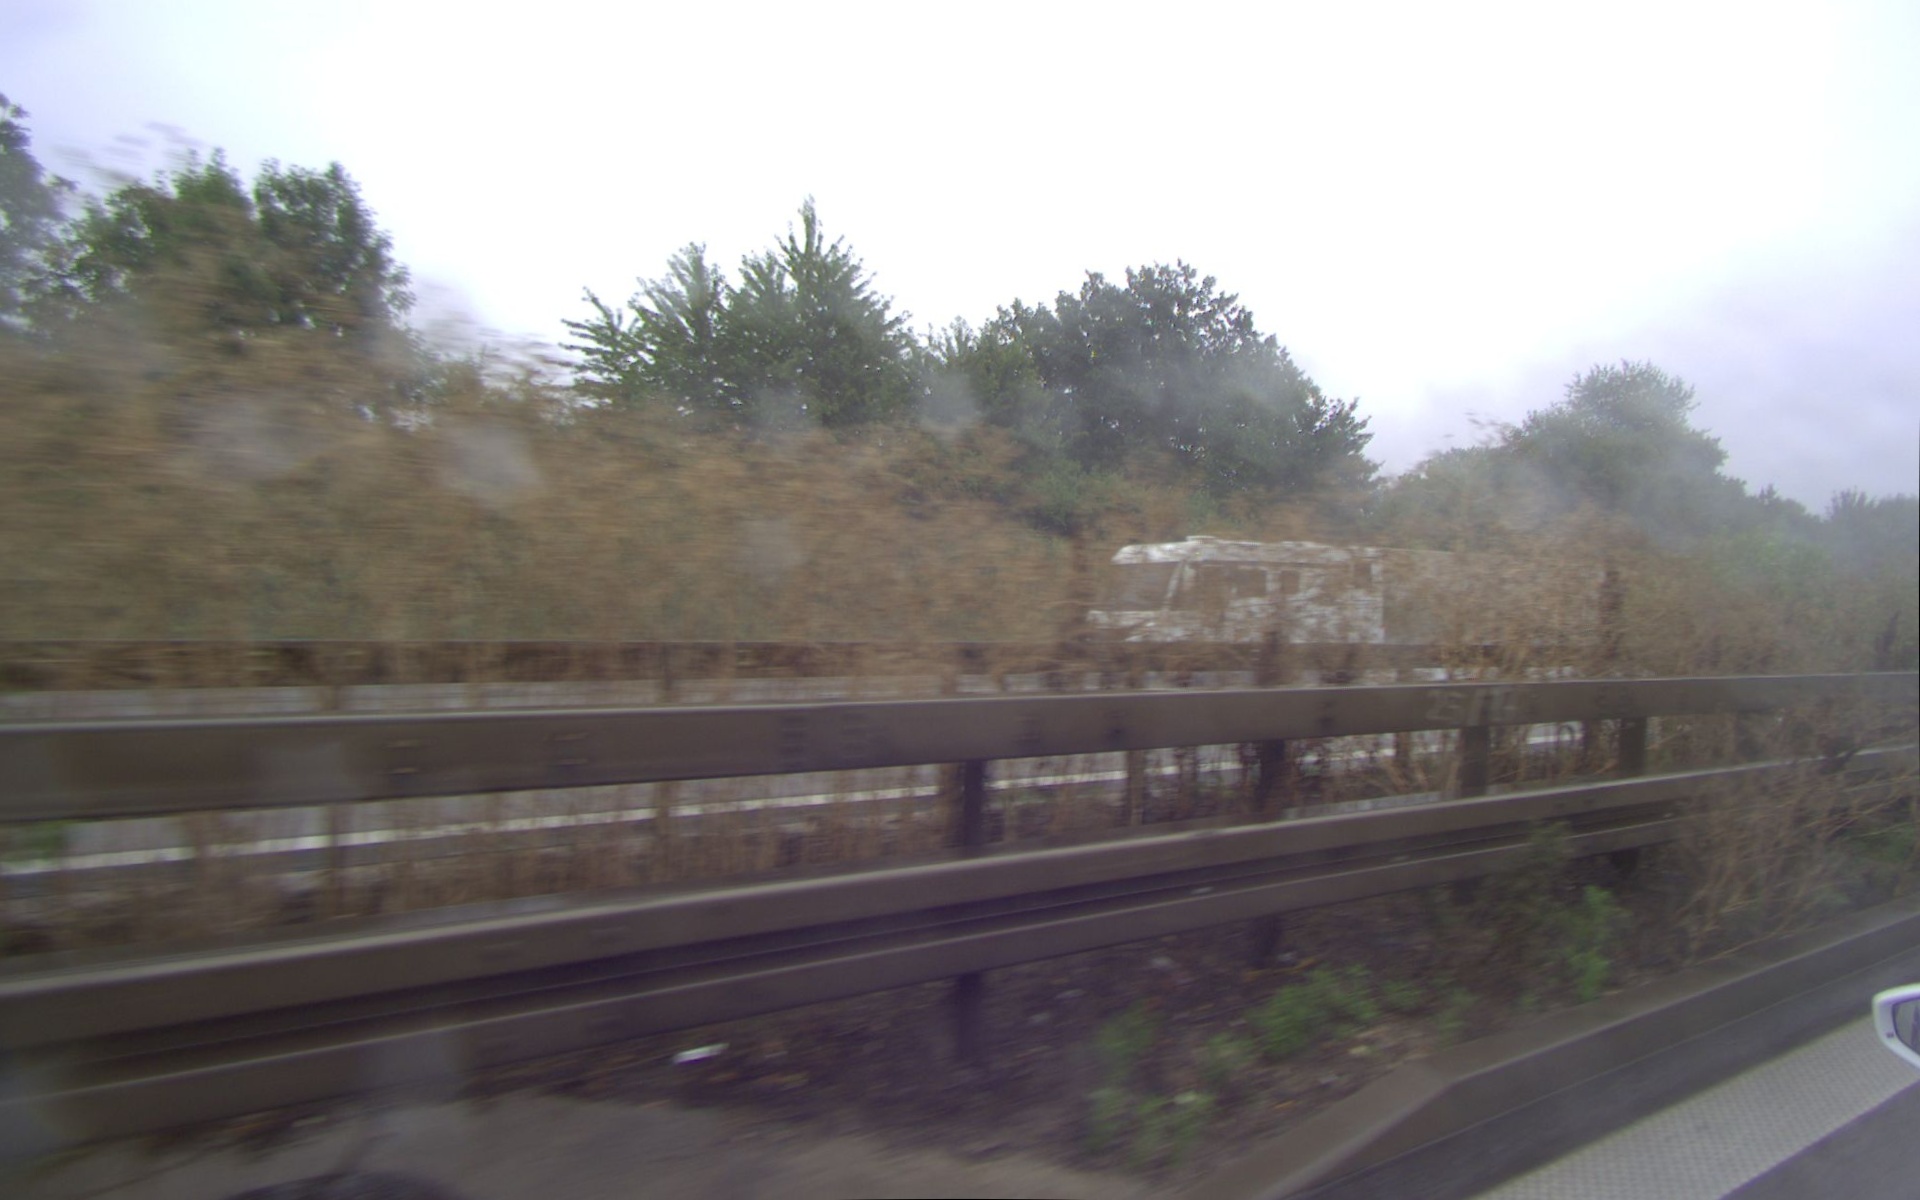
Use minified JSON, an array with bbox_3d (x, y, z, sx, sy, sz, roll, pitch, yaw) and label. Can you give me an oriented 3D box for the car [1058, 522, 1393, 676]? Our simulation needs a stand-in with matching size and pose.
[{"bbox_3d":[5.846,0.009,21.657,7.338,2.863,2.534,1,1,-30],"label":"car"}]
